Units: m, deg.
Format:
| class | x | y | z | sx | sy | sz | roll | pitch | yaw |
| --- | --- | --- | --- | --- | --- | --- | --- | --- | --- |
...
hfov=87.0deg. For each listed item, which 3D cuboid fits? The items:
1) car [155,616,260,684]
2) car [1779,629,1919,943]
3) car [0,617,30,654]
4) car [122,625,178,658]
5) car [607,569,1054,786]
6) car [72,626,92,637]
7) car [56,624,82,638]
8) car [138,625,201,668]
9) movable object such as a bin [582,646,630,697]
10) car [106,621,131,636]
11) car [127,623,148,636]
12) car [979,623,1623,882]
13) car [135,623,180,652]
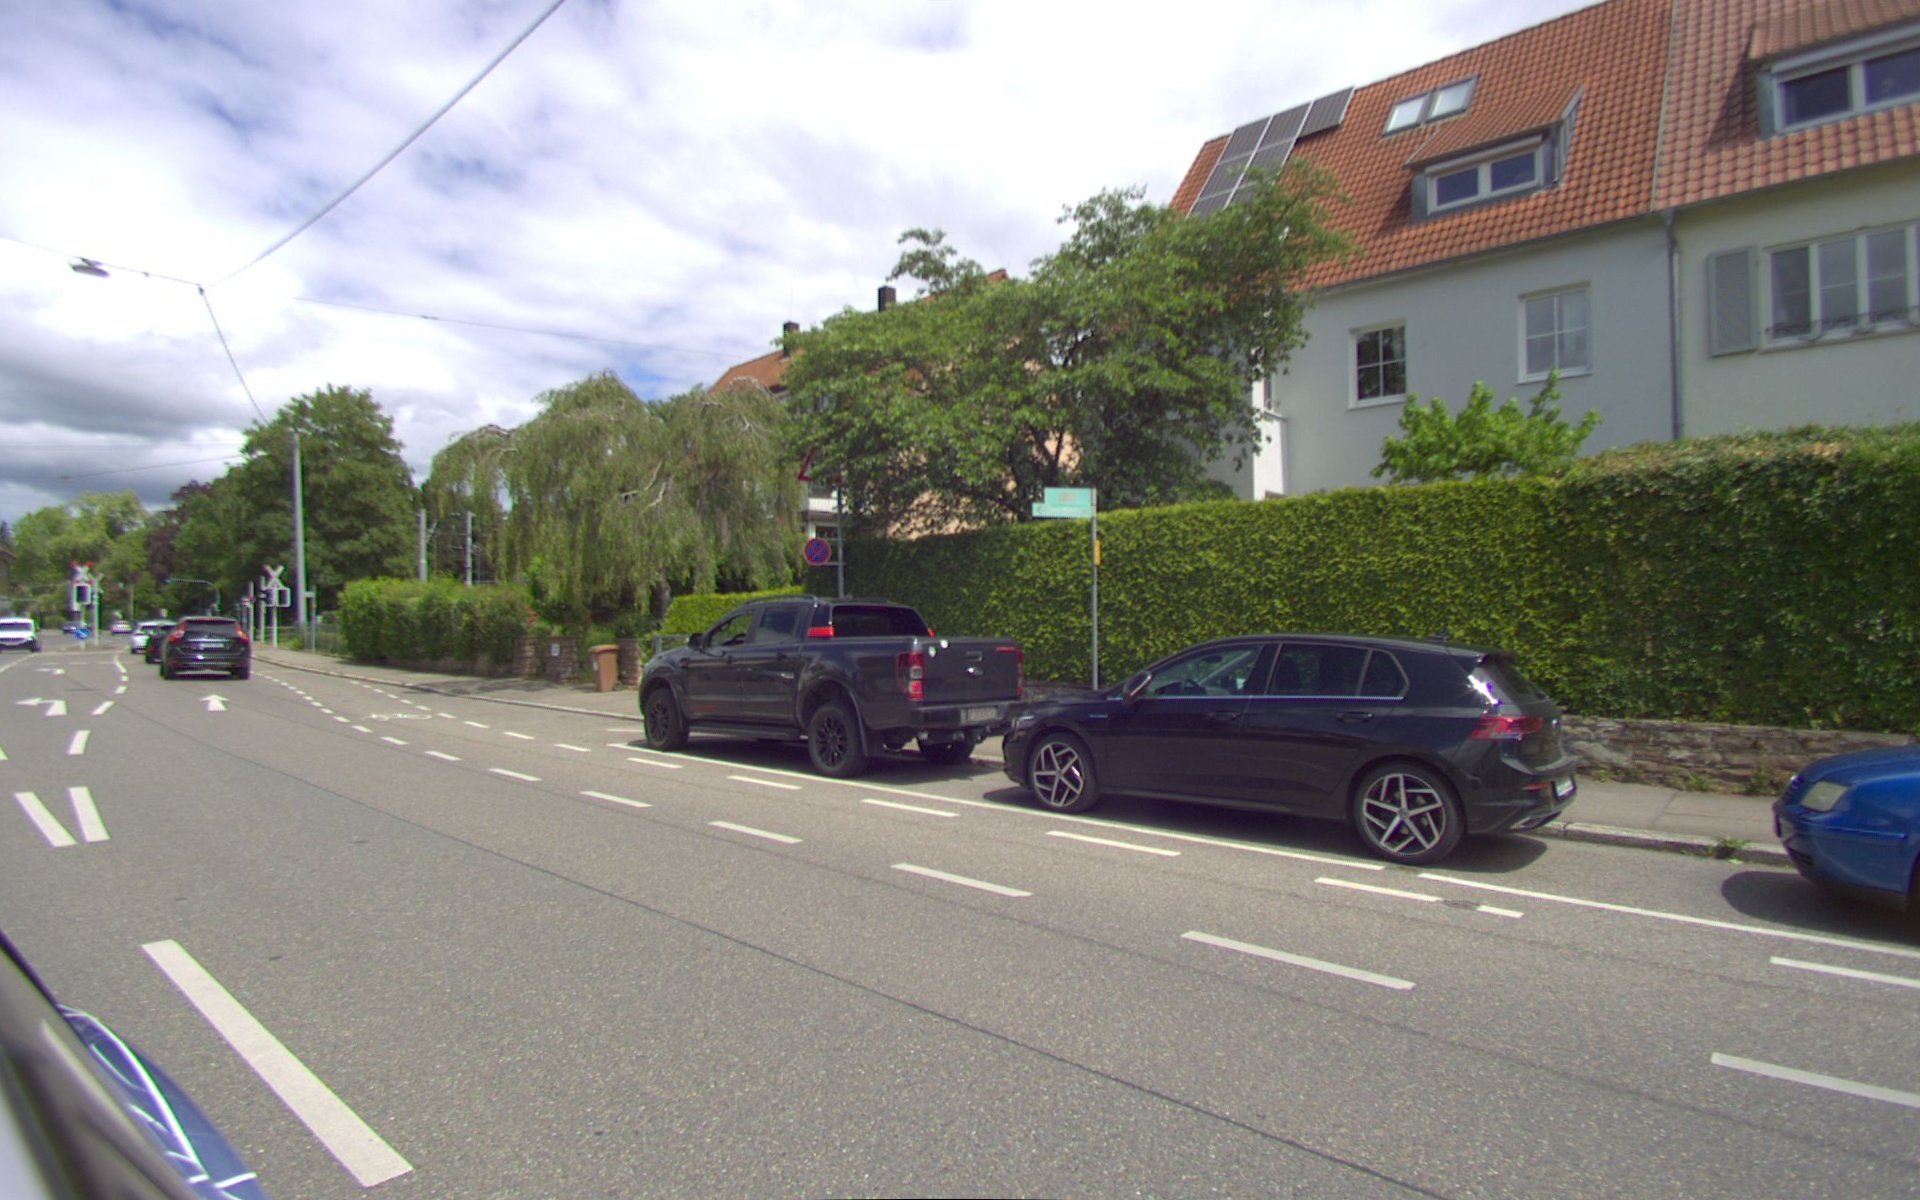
| class | x | y | z | sx | sy | sz | roll | pitch | yaw |
| --- | --- | --- | --- | --- | --- | --- | --- | --- | --- |
| car | -20.671 | 1.347 | 27.732 | 1.892 | 1.661 | 4.300 | 6 | -5 | -41 |
| car | 6.291 | 0.844 | 4.221 | 4.436 | 1.428 | 1.760 | -1 | -2 | 40 |
| car | -48.891 | 1.799 | 51.674 | 1.904 | 1.795 | 4.006 | -1 | 0 | -41 |
| car | -38.124 | 1.907 | 47.570 | 1.853 | 1.487 | 4.448 | 2 | -2 | -41 |
| car | -1.696 | 0.773 | 11.497 | 5.402 | 1.909 | 1.972 | -1 | -3 | 42 |
| car | -121.665 | 4.321 | 140.302 | 1.904 | 1.431 | 4.007 | -1 | 0 | -39 |
| car | -100.163 | 3.423 | 113.791 | 1.968 | 1.438 | 4.008 | -2 | 1 | -38 |
| car | -29.343 | 1.682 | 37.529 | 1.676 | 1.467 | 4.123 | 2 | -2 | -40 |
| movable object such as a bin | -7.078 | 1.412 | 20.236 | 0.645 | 0.952 | 0.669 | -1 | 0 | 45 |
| car | -87.159 | 2.933 | 104.862 | 1.904 | 1.431 | 4.007 | -1 | 0 | -39 |
| car | -98.057 | 3.486 | 120.721 | 1.904 | 1.431 | 4.007 | -1 | 0 | -39 |
| car | 2.357 | 0.897 | 7.734 | 4.337 | 1.428 | 1.759 | -1 | -2 | 41 |
| car | -46.307 | 2.115 | 58.368 | 1.824 | 1.586 | 4.165 | 0 | -1 | -41 |
